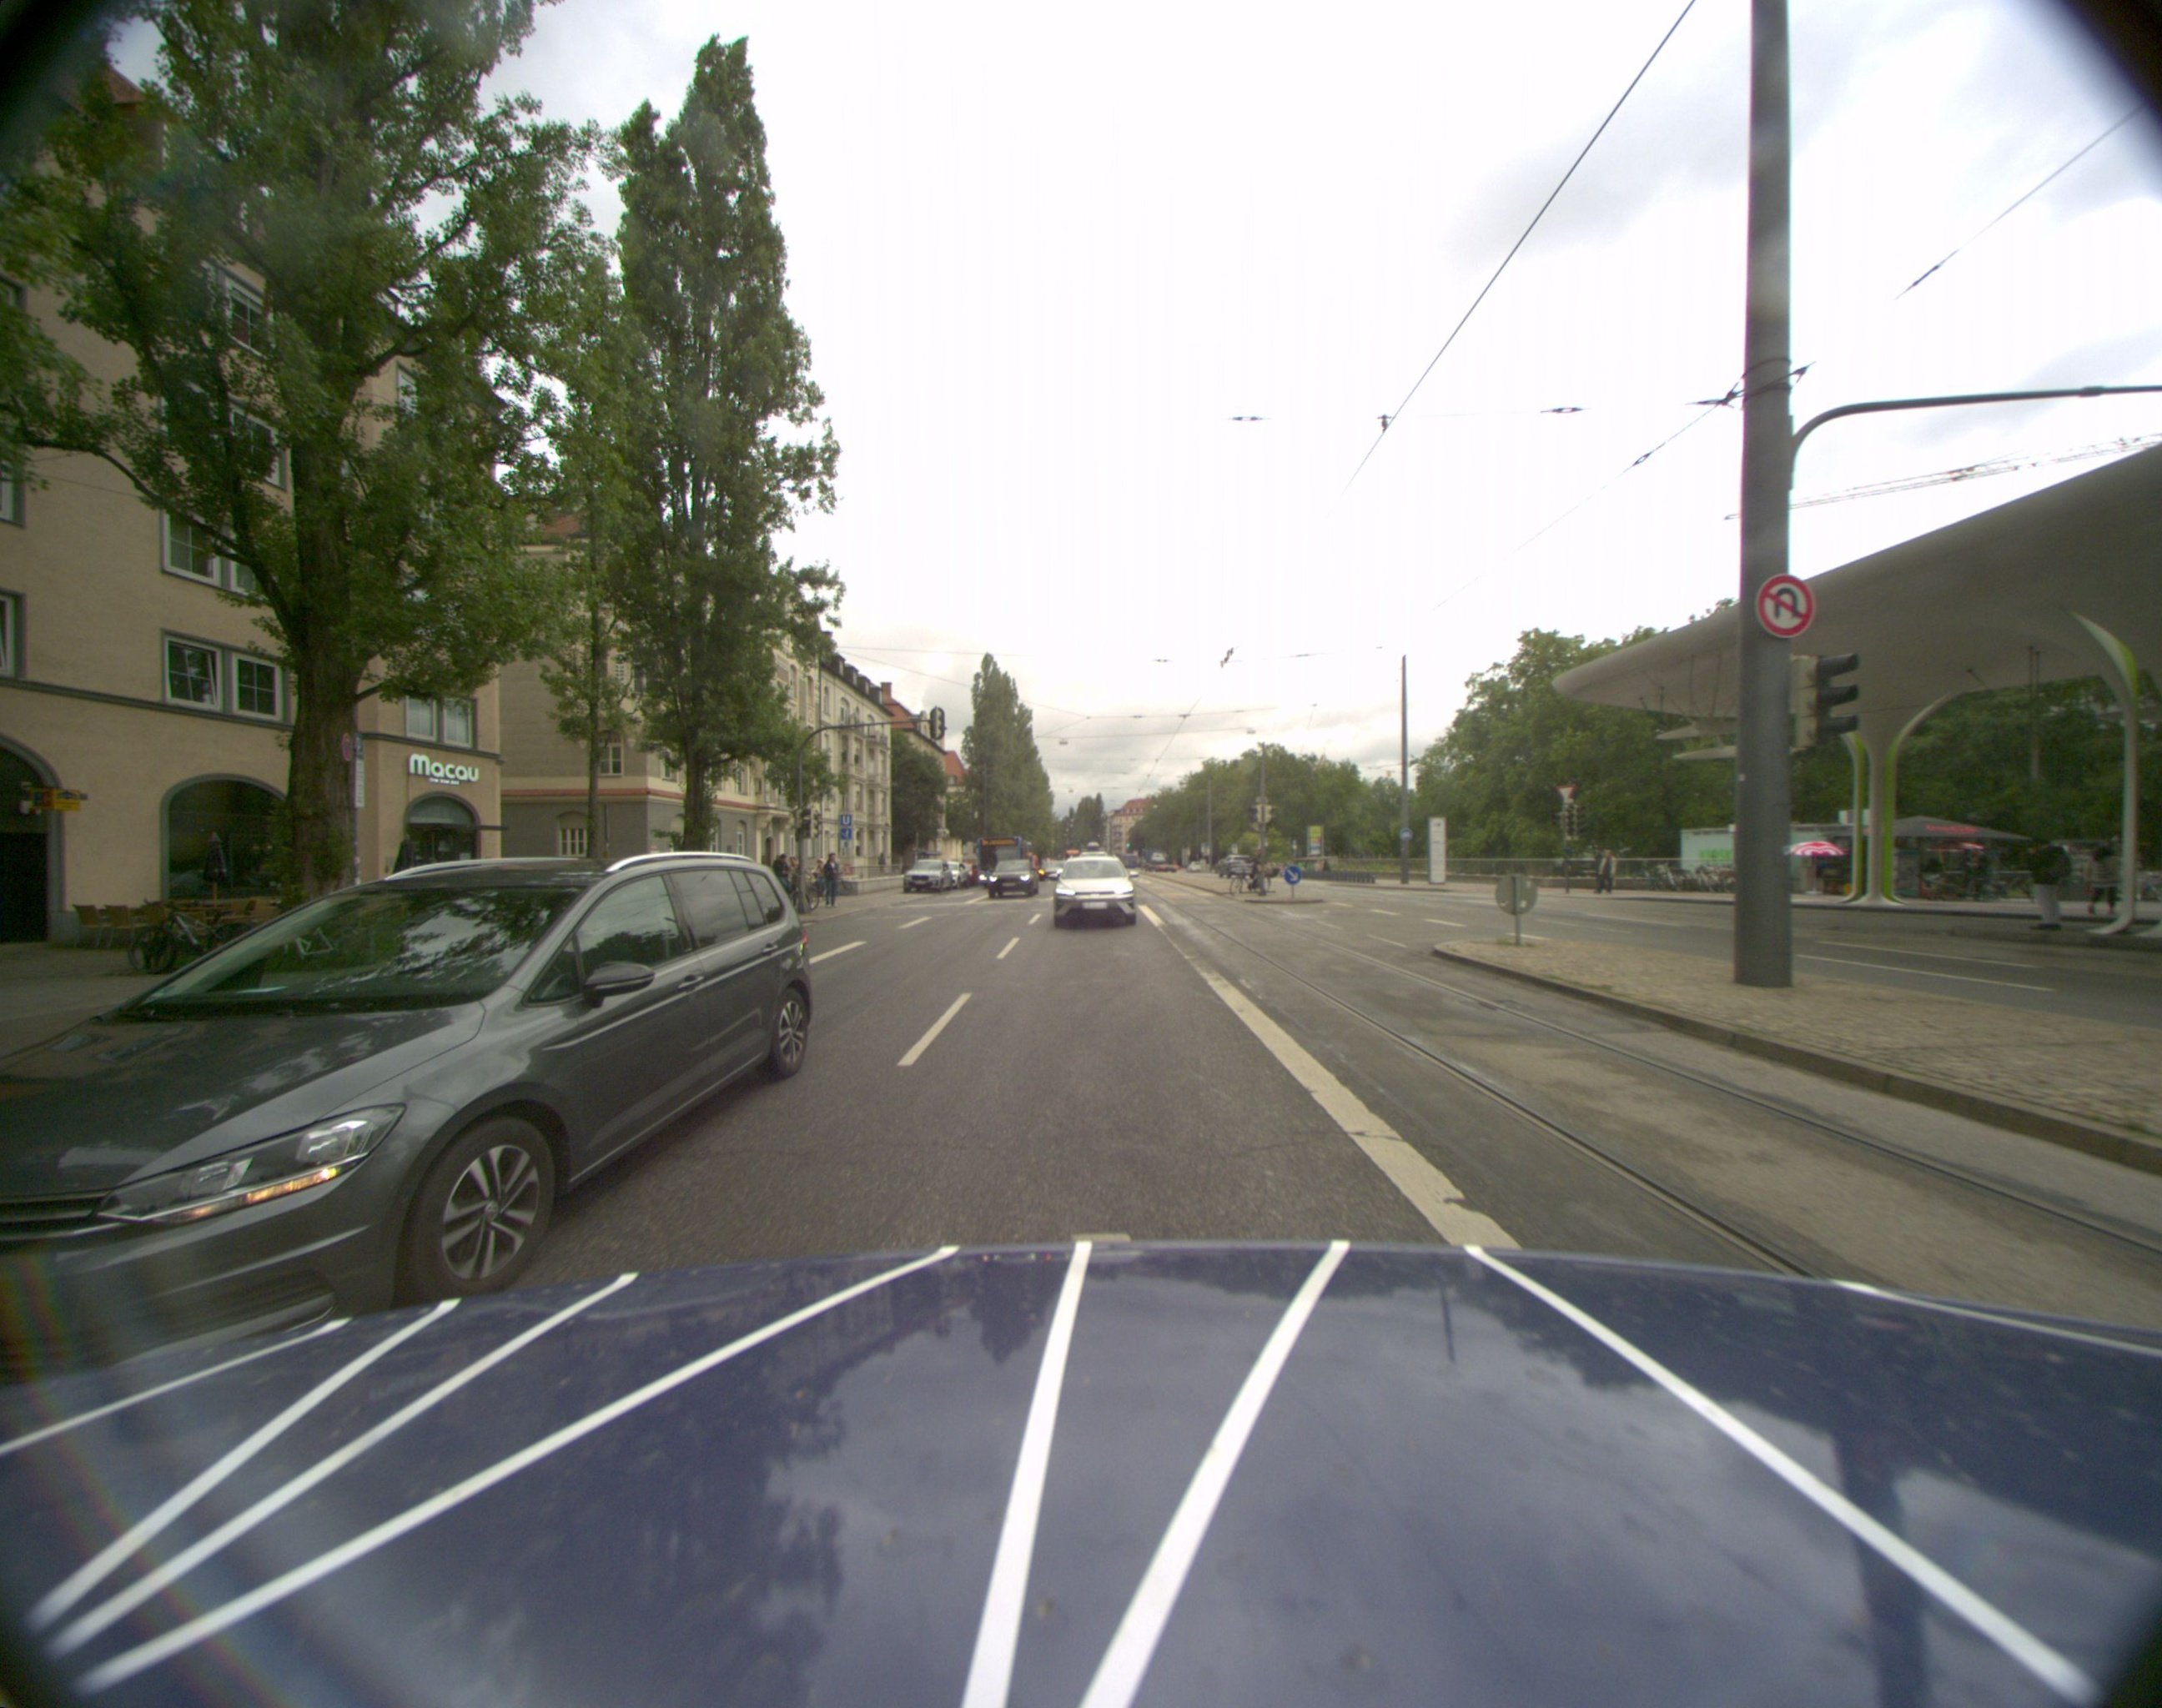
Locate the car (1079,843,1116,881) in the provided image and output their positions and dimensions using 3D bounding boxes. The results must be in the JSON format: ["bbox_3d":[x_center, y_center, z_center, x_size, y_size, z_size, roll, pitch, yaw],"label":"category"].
[{"bbox_3d":[0.957,0.421,45.047,1.998,2.100,4.000,-2,0,1],"label":"car"}]

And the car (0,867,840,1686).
[{"bbox_3d":[-2.985,0.957,3.966,1.776,1.637,4.708,-2,0,2],"label":"car"}]

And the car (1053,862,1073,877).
[{"bbox_3d":[-1.705,1.441,72.401,1.704,1.360,3.632,0,0,1],"label":"car"}]

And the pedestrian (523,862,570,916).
[{"bbox_3d":[-17.291,1.121,24.610,0.748,1.675,1.017,0,1,1],"label":"pedestrian"}]

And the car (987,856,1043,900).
[{"bbox_3d":[-2.651,0.927,31.288,1.780,1.495,3.970,-5,0,1],"label":"car"}]

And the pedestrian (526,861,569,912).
[{"bbox_3d":[-18.588,1.120,26.496,0.748,1.704,1.017,0,1,1],"label":"pedestrian"}]

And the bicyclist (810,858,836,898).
[{"bbox_3d":[-10.424,0.963,30.743,0.681,1.594,0.939,0,1,1],"label":"bicyclist"}]

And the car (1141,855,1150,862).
[{"bbox_3d":[14.933,1.094,176.214,1.809,1.674,4.000,-1,0,1],"label":"car"}]

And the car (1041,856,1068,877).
[{"bbox_3d":[-1.956,0.924,57.185,1.704,1.424,4.245,-3,0,1],"label":"car"}]

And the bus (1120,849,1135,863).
[{"bbox_3d":[10.818,0.474,178.281,2.632,2.949,12.844,1,0,-1],"label":"bus"}]

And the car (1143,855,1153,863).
[{"bbox_3d":[14.786,1.075,167.240,1.809,1.674,4.000,-1,0,1],"label":"car"}]

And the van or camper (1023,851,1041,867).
[{"bbox_3d":[-6.646,0.681,103.013,2.124,2.086,5.514,-1,0,0],"label":"van or camper"}]

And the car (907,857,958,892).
[{"bbox_3d":[-7.583,1.021,39.126,1.737,1.651,4.502,0,0,0],"label":"car"}]

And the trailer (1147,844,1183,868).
[{"bbox_3d":[10.315,0.229,95.133,2.616,2.666,15.639,1,0,0],"label":"trailer"}]

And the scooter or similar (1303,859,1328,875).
[{"bbox_3d":[17.282,0.937,55.988,1.692,1.165,0.562,-1,0,-1],"label":"scooter or similar"}]

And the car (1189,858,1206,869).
[{"bbox_3d":[15.812,1.262,103.318,1.893,1.521,4.000,0,0,1],"label":"car"}]

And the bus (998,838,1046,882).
[{"bbox_3d":[-4.299,0.446,57.290,2.637,2.956,8.534,-2,0,1],"label":"bus"}]

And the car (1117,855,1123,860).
[{"bbox_3d":[12.584,1.077,246.385,1.628,1.473,3.602,-1,0,1],"label":"car"}]

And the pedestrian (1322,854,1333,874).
[{"bbox_3d":[19.373,0.754,59.735,0.632,1.549,0.589,0,0,0],"label":"pedestrian"}]

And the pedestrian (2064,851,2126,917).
[{"bbox_3d":[25.318,0.719,18.978,0.749,1.600,0.837,-1,1,-29],"label":"pedestrian"}]

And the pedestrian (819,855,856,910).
[{"bbox_3d":[-8.098,0.934,25.312,0.881,1.791,0.757,-1,0,12],"label":"pedestrian"}]

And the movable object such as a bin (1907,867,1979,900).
[{"bbox_3d":[29.292,1.000,25.828,1.336,1.078,0.957,0,0,3],"label":"movable object such as a bin"}]

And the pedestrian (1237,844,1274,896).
[{"bbox_3d":[6.149,0.547,26.815,0.862,1.801,0.895,-2,1,-22],"label":"pedestrian"}]

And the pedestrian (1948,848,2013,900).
[{"bbox_3d":[30.478,0.667,25.765,1.031,1.752,0.957,0,1,3],"label":"pedestrian"}]

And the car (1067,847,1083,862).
[{"bbox_3d":[-1.165,0.097,142.828,2.806,2.836,5.114,-1,0,1],"label":"car"}]

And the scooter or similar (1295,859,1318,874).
[{"bbox_3d":[17.267,0.937,58.169,1.695,1.165,0.561,-1,0,-18],"label":"scooter or similar"}]

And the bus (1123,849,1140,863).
[{"bbox_3d":[10.935,0.476,165.144,2.632,2.949,13.415,1,0,-1],"label":"bus"}]

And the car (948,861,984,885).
[{"bbox_3d":[-7.346,1.189,48.916,1.730,1.500,3.742,0,0,0],"label":"car"}]

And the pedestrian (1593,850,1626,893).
[{"bbox_3d":[20.025,0.658,28.777,0.739,1.619,0.741,-1,1,-20],"label":"pedestrian"}]

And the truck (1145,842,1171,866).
[{"bbox_3d":[10.291,-0.023,102.169,2.572,3.069,7.690,1,0,-1],"label":"truck"}]

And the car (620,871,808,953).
[{"bbox_3d":[-7.832,1.169,16.806,1.999,1.432,4.528,-1,0,-1],"label":"car"}]

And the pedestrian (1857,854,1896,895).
[{"bbox_3d":[31.139,0.792,29.756,0.739,1.591,0.798,0,1,16],"label":"pedestrian"}]

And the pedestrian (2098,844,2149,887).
[{"bbox_3d":[46.264,0.510,33.720,0.910,1.856,0.981,-1,1,1],"label":"pedestrian"}]

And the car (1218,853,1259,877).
[{"bbox_3d":[11.281,0.736,54.744,1.868,1.629,4.677,1,0,-1],"label":"car"}]

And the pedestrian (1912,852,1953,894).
[{"bbox_3d":[32.845,0.715,29.330,0.739,1.591,0.798,0,1,16],"label":"pedestrian"}]

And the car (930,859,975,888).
[{"bbox_3d":[-7.423,1.089,44.186,1.730,1.567,3.967,0,0,3],"label":"car"}]

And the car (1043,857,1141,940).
[{"bbox_3d":[0.306,0.863,17.026,1.812,1.496,4.953,-2,0,2],"label":"car"}]

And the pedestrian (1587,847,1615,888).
[{"bbox_3d":[22.047,0.548,32.224,0.735,1.706,0.861,0,1,11],"label":"pedestrian"}]

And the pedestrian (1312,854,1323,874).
[{"bbox_3d":[18.571,0.791,59.608,0.632,1.549,0.589,0,0,0],"label":"pedestrian"}]

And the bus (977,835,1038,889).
[{"bbox_3d":[-4.471,0.459,48.334,2.637,2.956,9.467,-2,0,1],"label":"bus"}]
